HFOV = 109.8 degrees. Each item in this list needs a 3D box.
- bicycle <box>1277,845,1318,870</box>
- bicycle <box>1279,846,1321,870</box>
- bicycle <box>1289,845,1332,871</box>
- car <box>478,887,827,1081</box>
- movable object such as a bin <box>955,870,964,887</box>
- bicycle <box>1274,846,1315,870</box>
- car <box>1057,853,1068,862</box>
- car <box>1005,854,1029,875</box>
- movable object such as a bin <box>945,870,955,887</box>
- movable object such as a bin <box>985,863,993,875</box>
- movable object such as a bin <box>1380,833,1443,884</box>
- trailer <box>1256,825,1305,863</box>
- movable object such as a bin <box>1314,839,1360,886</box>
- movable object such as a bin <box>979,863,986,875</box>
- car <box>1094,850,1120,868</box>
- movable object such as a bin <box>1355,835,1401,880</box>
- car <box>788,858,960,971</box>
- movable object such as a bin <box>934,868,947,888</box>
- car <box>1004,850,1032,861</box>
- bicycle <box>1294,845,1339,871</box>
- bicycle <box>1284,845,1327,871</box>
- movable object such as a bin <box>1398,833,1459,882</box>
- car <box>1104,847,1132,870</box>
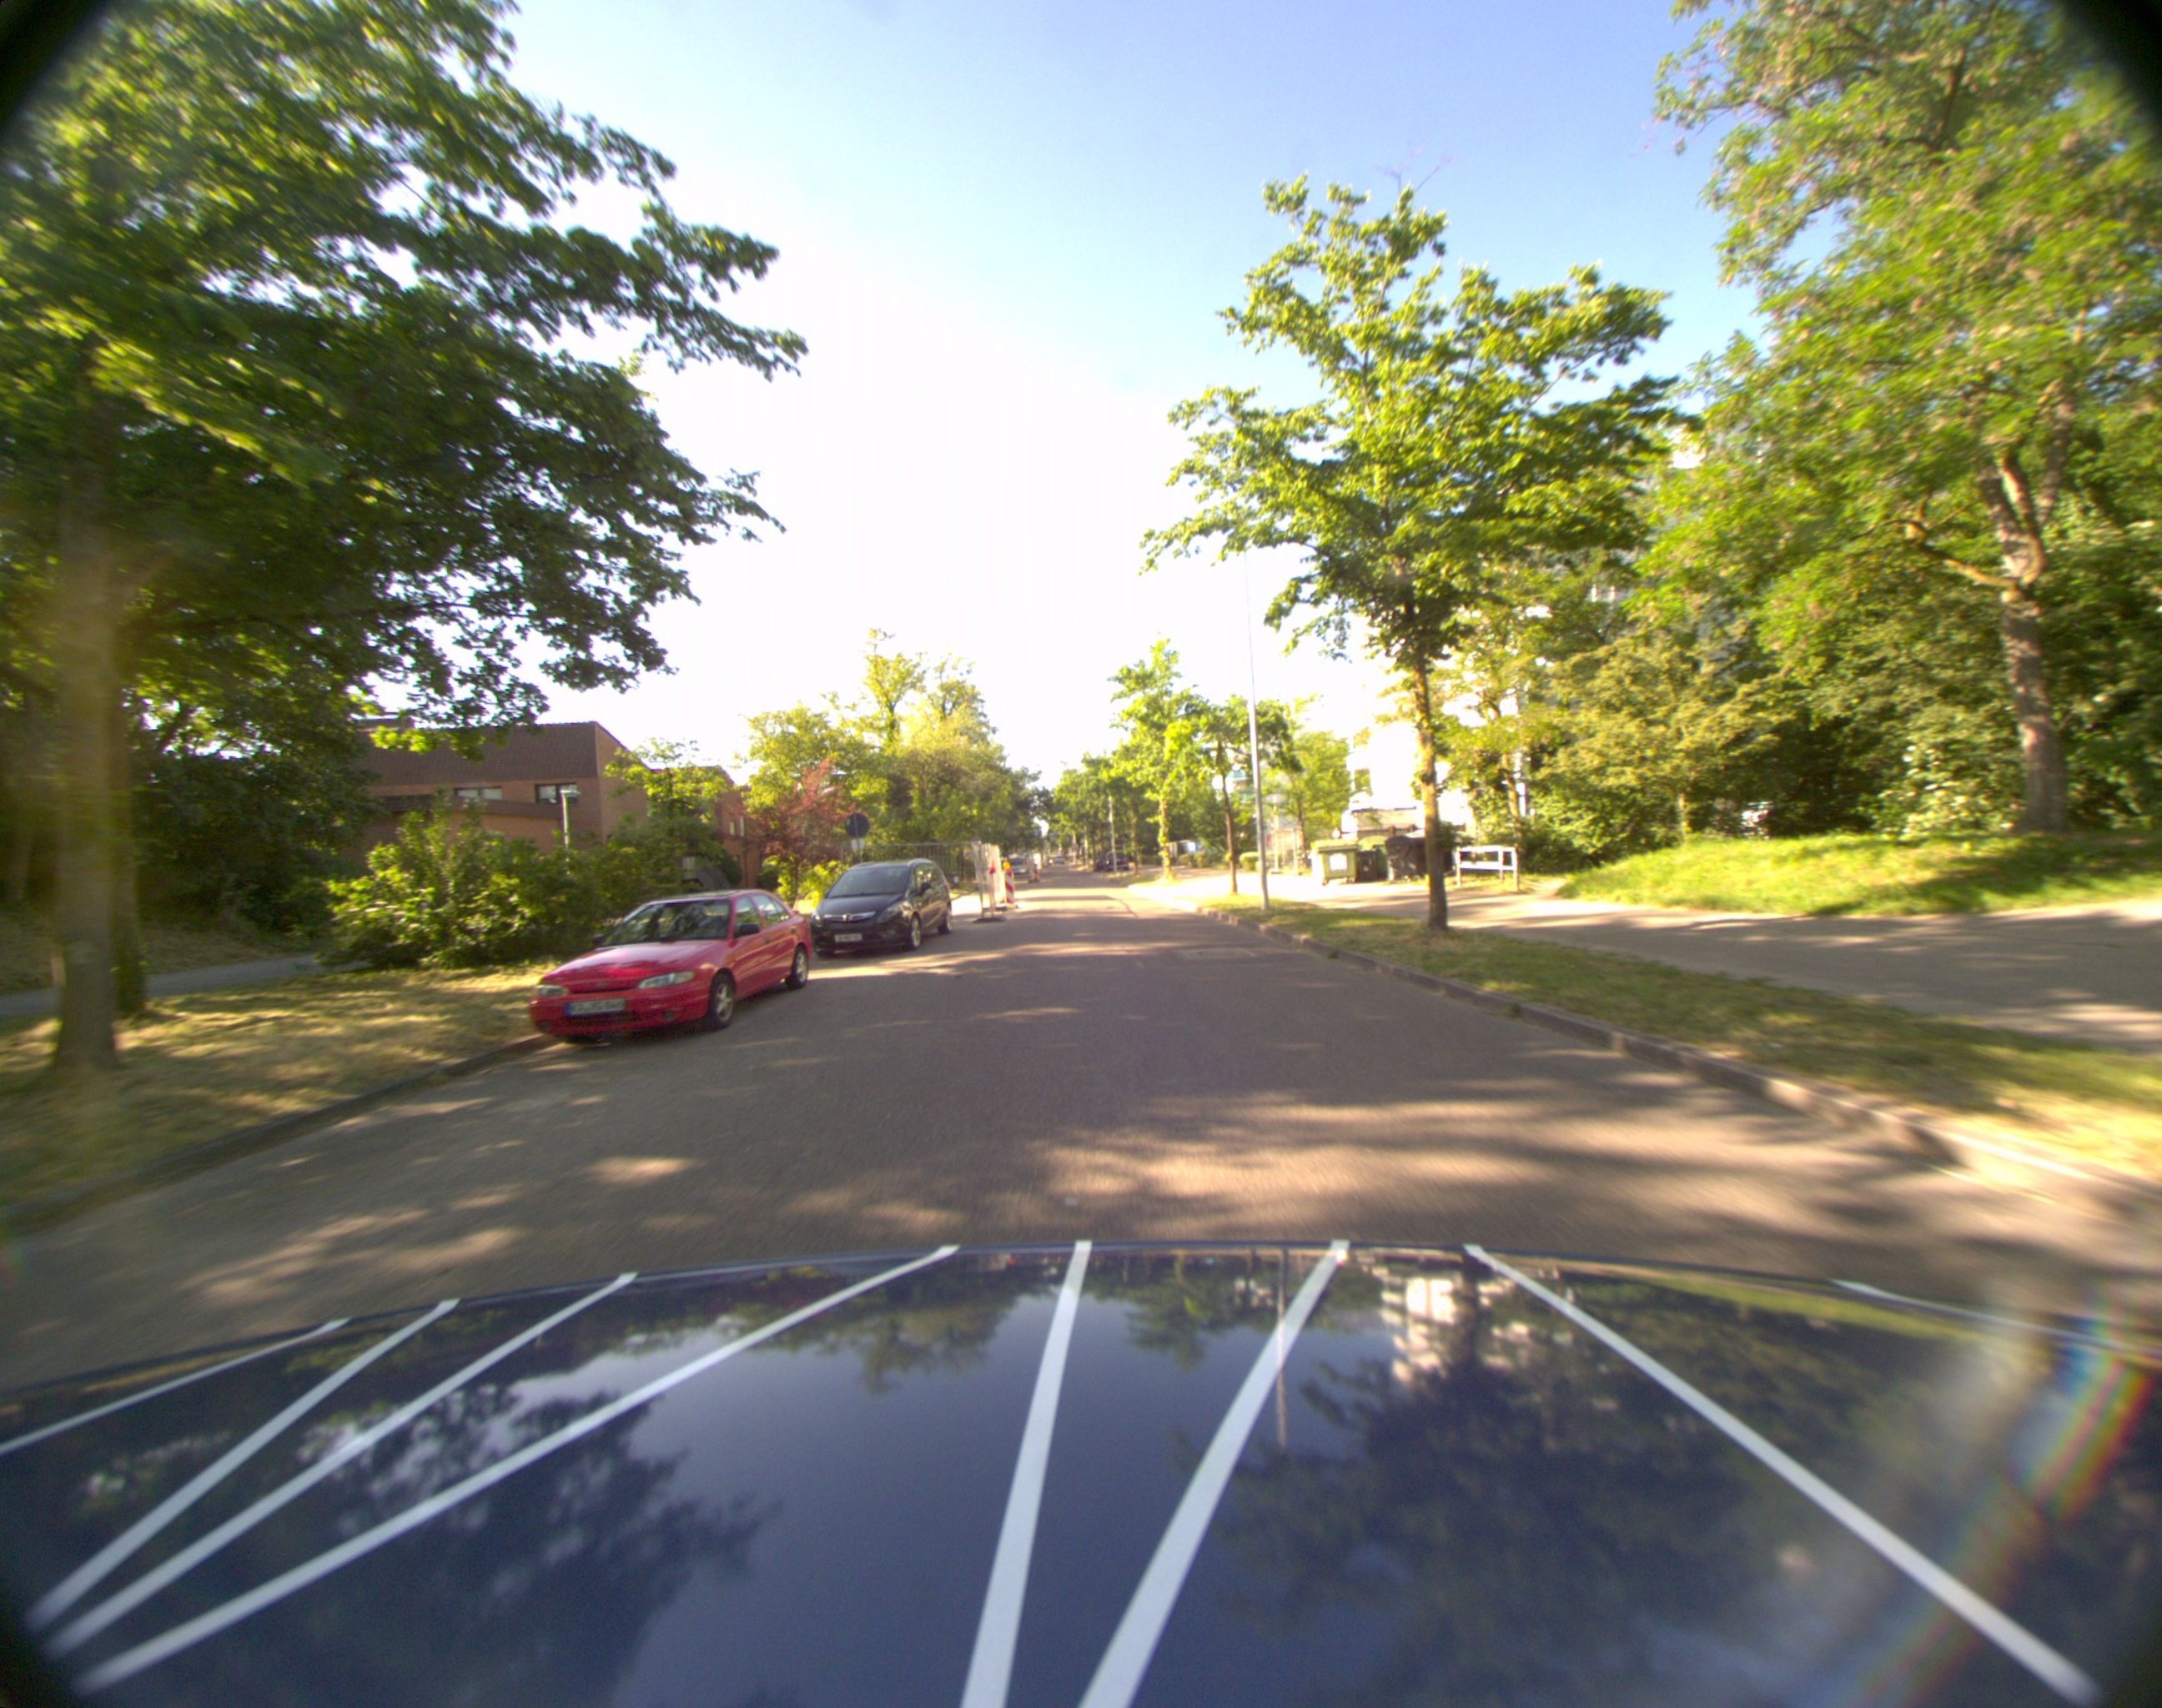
[{"bbox_3d":[10.036,0.166,35.213,1.862,1.021,0.400,-3,2,-14],"label":"bicycle"},{"bbox_3d":[10.022,0.175,34.739,1.844,1.021,0.400,-3,2,-14],"label":"bicycle"},{"bbox_3d":[10.230,0.175,33.851,1.844,1.021,0.400,-3,2,-14],"label":"bicycle"},{"bbox_3d":[-4.472,1.238,8.792,1.666,1.367,4.154,-5,0,-2],"label":"car"},{"bbox_3d":[-6.270,1.265,39.224,0.414,0.865,0.484,-1,1,-1],"label":"movable object such as a bin"},{"bbox_3d":[10.147,0.169,36.158,1.875,1.021,0.400,-3,2,-14],"label":"bicycle"},{"bbox_3d":[-3.435,0.622,139.373,1.664,1.587,4.006,-2,0,-5],"label":"car"},{"bbox_3d":[-5.254,0.854,63.037,1.683,1.612,4.136,-4,0,-2],"label":"car"},{"bbox_3d":[-6.762,1.277,39.191,0.414,0.865,0.484,-1,1,-1],"label":"movable object such as a bin"},{"bbox_3d":[-7.024,1.135,58.066,0.485,0.856,0.559,-4,1,-4],"label":"movable object such as a bin"},{"bbox_3d":[9.801,0.135,22.562,1.147,1.427,1.270,-3,1,-35],"label":"movable object such as a bin"},{"bbox_3d":[12.355,-0.593,47.315,1.868,2.108,4.346,-5,0,2],"label":"trailer"},{"bbox_3d":[8.141,0.266,24.224,1.271,1.427,1.182,-3,1,15],"label":"movable object such as a bin"},{"bbox_3d":[-7.515,1.145,58.024,0.485,0.856,0.559,-4,1,-4],"label":"movable object such as a bin"},{"bbox_3d":[2.248,0.464,67.910,1.721,1.424,4.135,-5,0,-5],"label":"car"},{"bbox_3d":[9.935,0.097,25.418,1.270,1.427,1.328,-2,1,27],"label":"movable object such as a bin"},{"bbox_3d":[-3.770,1.015,14.736,1.814,1.641,4.421,-5,0,3],"label":"car"},{"bbox_3d":[-7.286,1.223,39.330,0.520,0.994,0.608,-1,1,-1],"label":"movable object such as a bin"},{"bbox_3d":[-12.500,0.365,151.042,5.270,1.993,1.999,-2,0,-3],"label":"car"},{"bbox_3d":[10.339,0.178,33.389,1.921,1.021,0.400,-3,2,-14],"label":"bicycle"},{"bbox_3d":[10.144,0.176,34.271,1.866,1.021,0.400,-3,2,-14],"label":"bicycle"},{"bbox_3d":[10.692,0.104,23.389,1.147,1.427,1.270,-3,1,-35],"label":"movable object such as a bin"},{"bbox_3d":[2.960,0.359,61.278,1.780,1.612,4.219,-5,0,-2],"label":"car"}]
